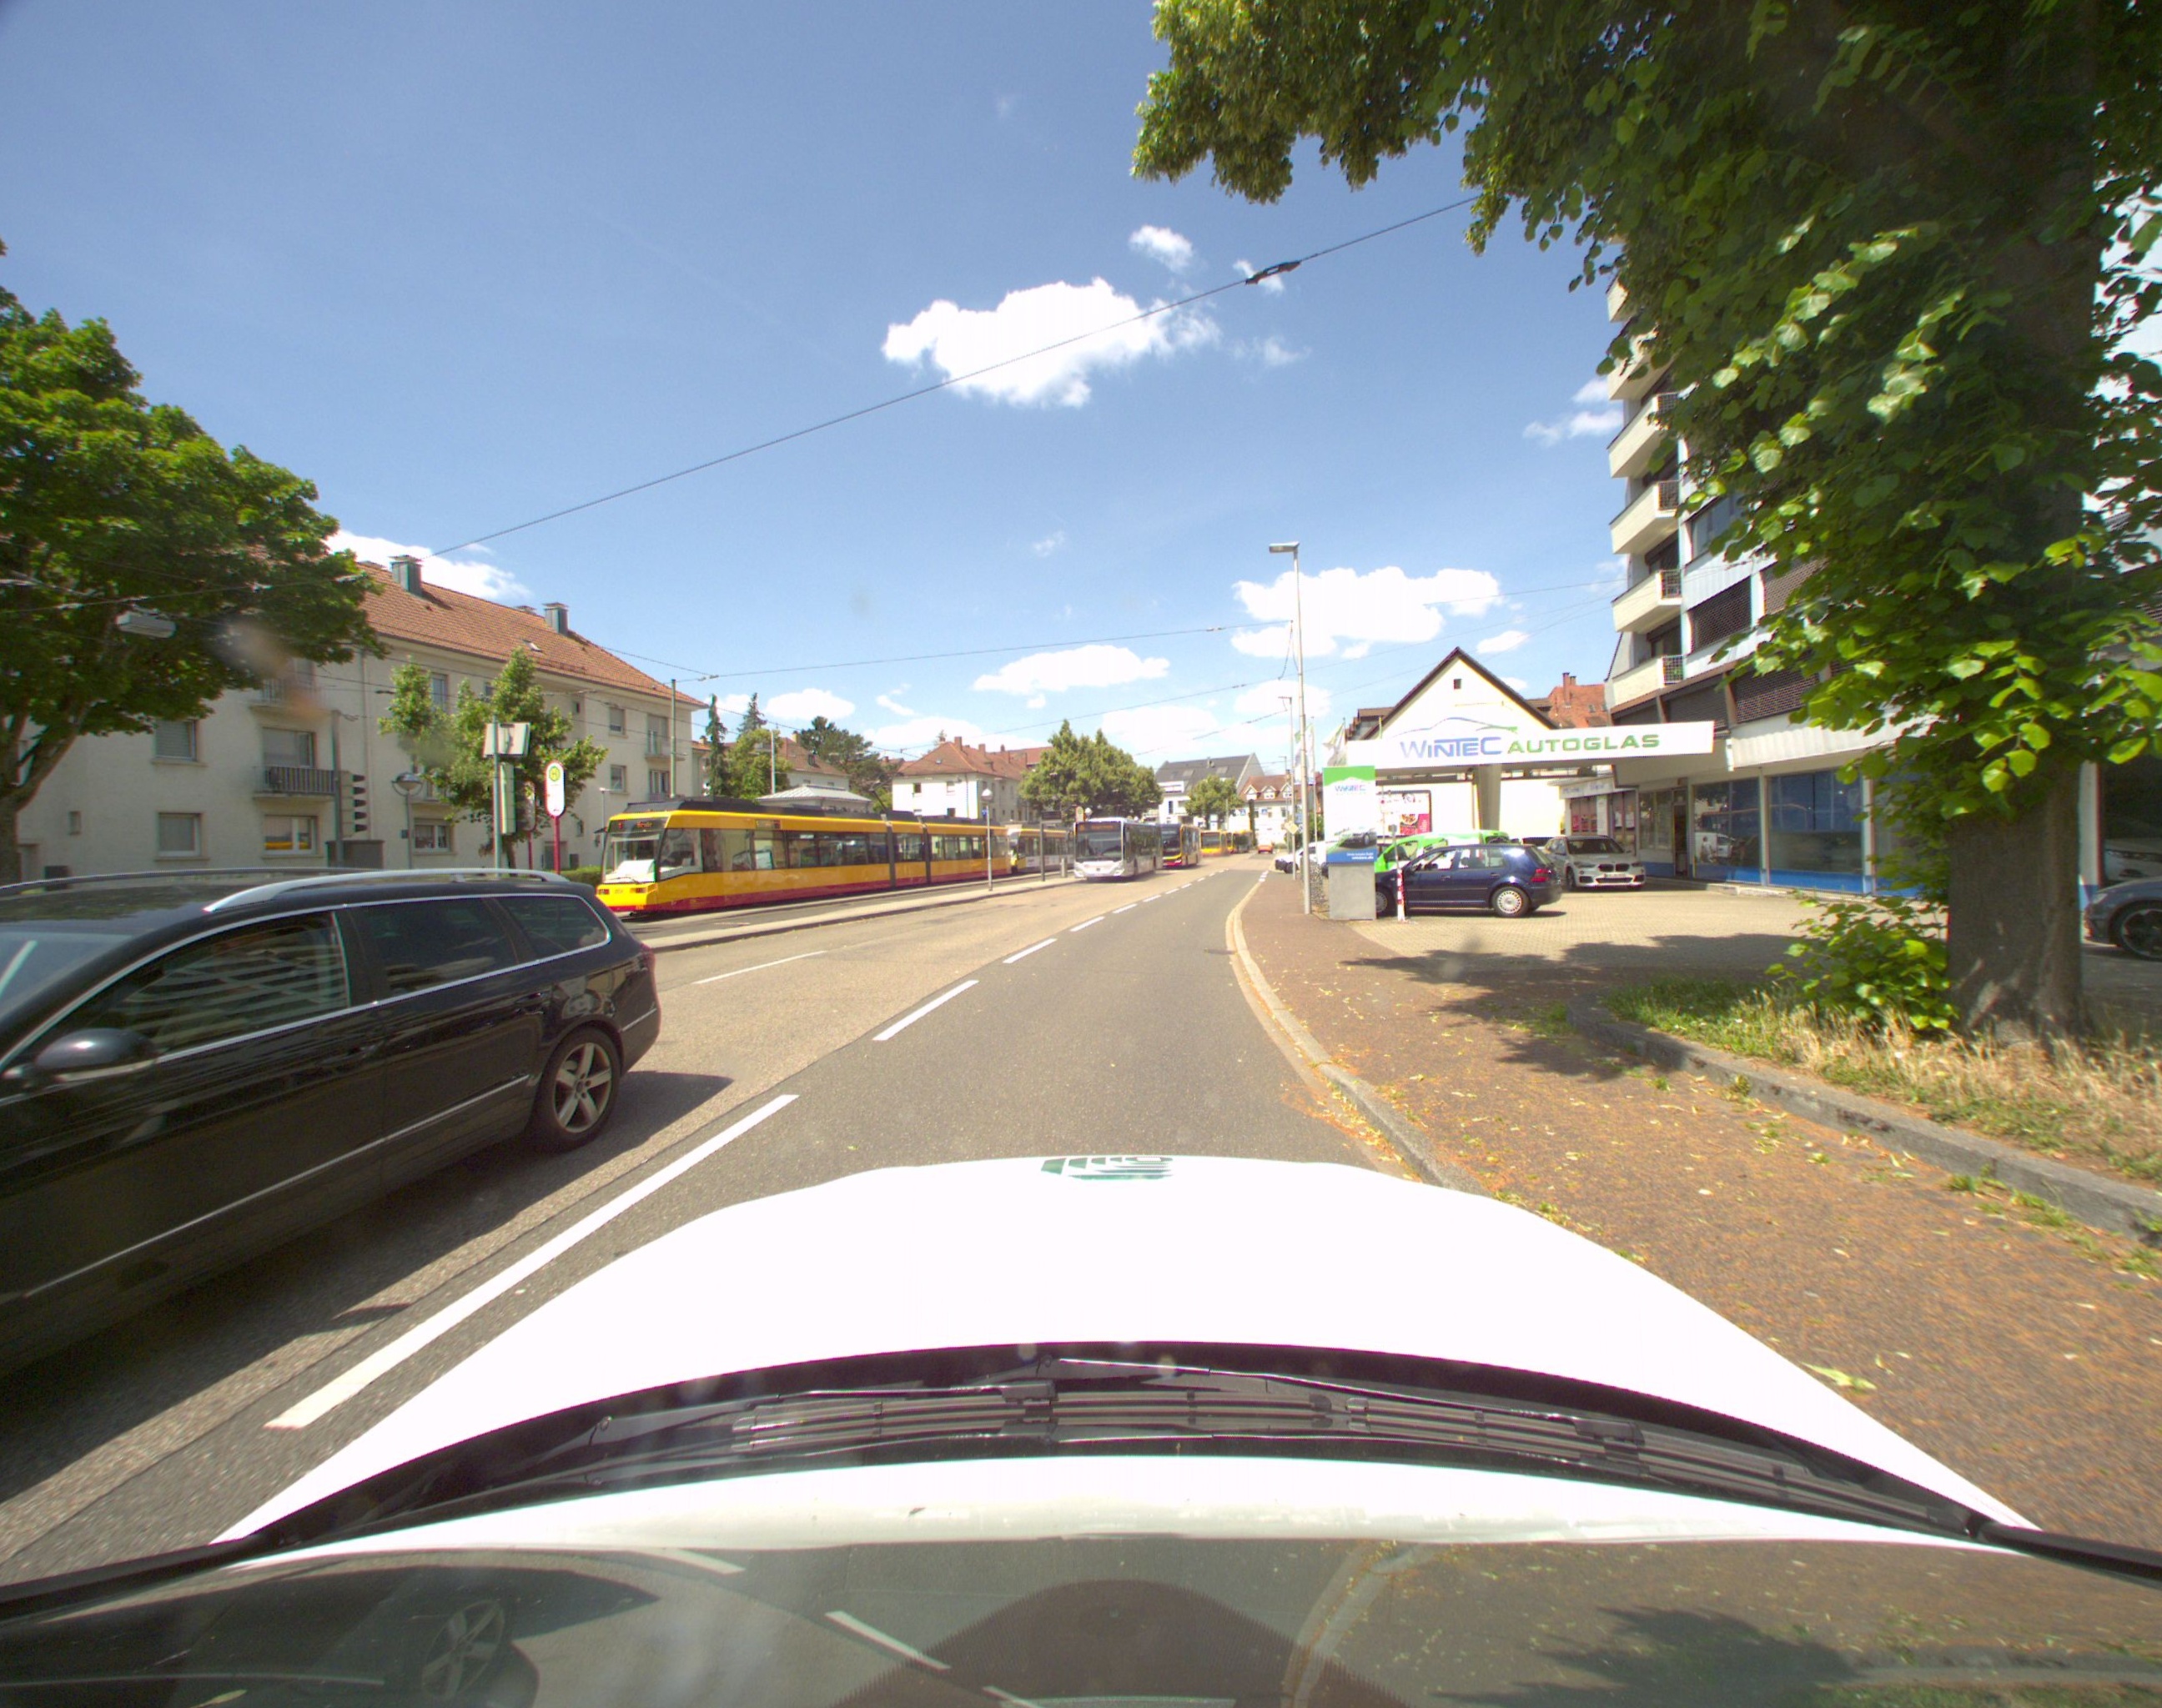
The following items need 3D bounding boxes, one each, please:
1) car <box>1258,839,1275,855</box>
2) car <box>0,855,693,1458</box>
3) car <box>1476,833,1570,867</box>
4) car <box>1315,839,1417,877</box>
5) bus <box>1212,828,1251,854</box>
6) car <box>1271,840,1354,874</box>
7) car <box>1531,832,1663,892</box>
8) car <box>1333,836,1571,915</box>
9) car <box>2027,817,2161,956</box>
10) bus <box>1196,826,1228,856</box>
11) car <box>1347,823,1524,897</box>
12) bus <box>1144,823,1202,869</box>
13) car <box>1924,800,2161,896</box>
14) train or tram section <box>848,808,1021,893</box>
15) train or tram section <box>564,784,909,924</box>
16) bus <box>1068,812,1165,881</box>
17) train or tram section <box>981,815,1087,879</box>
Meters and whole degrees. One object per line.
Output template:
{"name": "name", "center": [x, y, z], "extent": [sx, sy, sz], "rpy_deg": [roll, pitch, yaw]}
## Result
{"name": "car", "center": [24.664, -0.907, 108.197], "extent": [1.794, 1.981, 4.017], "rpy_deg": [-2, 0, 16]}
{"name": "car", "center": [-3.693, 0.799, 3.108], "extent": [1.985, 1.519, 4.517], "rpy_deg": [-1, 0, 4]}
{"name": "car", "center": [24.895, -0.248, 45.980], "extent": [4.278, 1.809, 2.006], "rpy_deg": [-1, 2, 10]}
{"name": "car", "center": [12.790, 0.166, 36.715], "extent": [3.914, 1.518, 1.824], "rpy_deg": [-2, 0, 2]}
{"name": "bus", "center": [20.302, -1.777, 109.618], "extent": [2.610, 3.218, 9.998], "rpy_deg": [-2, 0, 25]}
{"name": "car", "center": [13.206, 0.153, 46.737], "extent": [4.284, 1.809, 2.003], "rpy_deg": [-1, 2, 4]}
{"name": "car", "center": [15.393, 0.203, 24.583], "extent": [1.994, 1.596, 4.304], "rpy_deg": [-2, 0, 13]}
{"name": "car", "center": [7.590, 0.437, 16.824], "extent": [4.118, 1.439, 1.914], "rpy_deg": [-2, 0, 37]}
{"name": "car", "center": [12.074, 0.299, 7.405], "extent": [1.699, 1.428, 4.356], "rpy_deg": [-2, -1, -5]}
{"name": "bus", "center": [15.766, -1.532, 97.285], "extent": [2.711, 3.218, 11.091], "rpy_deg": [-2, 0, 14]}
{"name": "car", "center": [9.516, 0.175, 22.123], "extent": [1.850, 1.794, 3.982], "rpy_deg": [-2, 0, -35]}
{"name": "bus", "center": [7.259, -0.622, 62.344], "extent": [2.711, 3.129, 12.054], "rpy_deg": [-2, 0, 14]}
{"name": "car", "center": [18.946, -0.136, 15.533], "extent": [1.979, 1.585, 4.399], "rpy_deg": [-2, 0, 15]}
{"name": "train or tram section", "center": [-6.864, -0.232, 42.106], "extent": [2.765, 3.568, 14.763], "rpy_deg": [-2, 0, 14]}
{"name": "train or tram section", "center": [-10.480, -0.056, 28.085], "extent": [2.789, 3.568, 14.237], "rpy_deg": [-2, 0, 14]}
{"name": "bus", "center": [2.212, -0.391, 43.545], "extent": [2.711, 3.129, 12.054], "rpy_deg": [-2, 0, 14]}
{"name": "train or tram section", "center": [-2.871, -0.509, 57.709], "extent": [2.765, 3.895, 15.613], "rpy_deg": [-2, 0, 14]}
